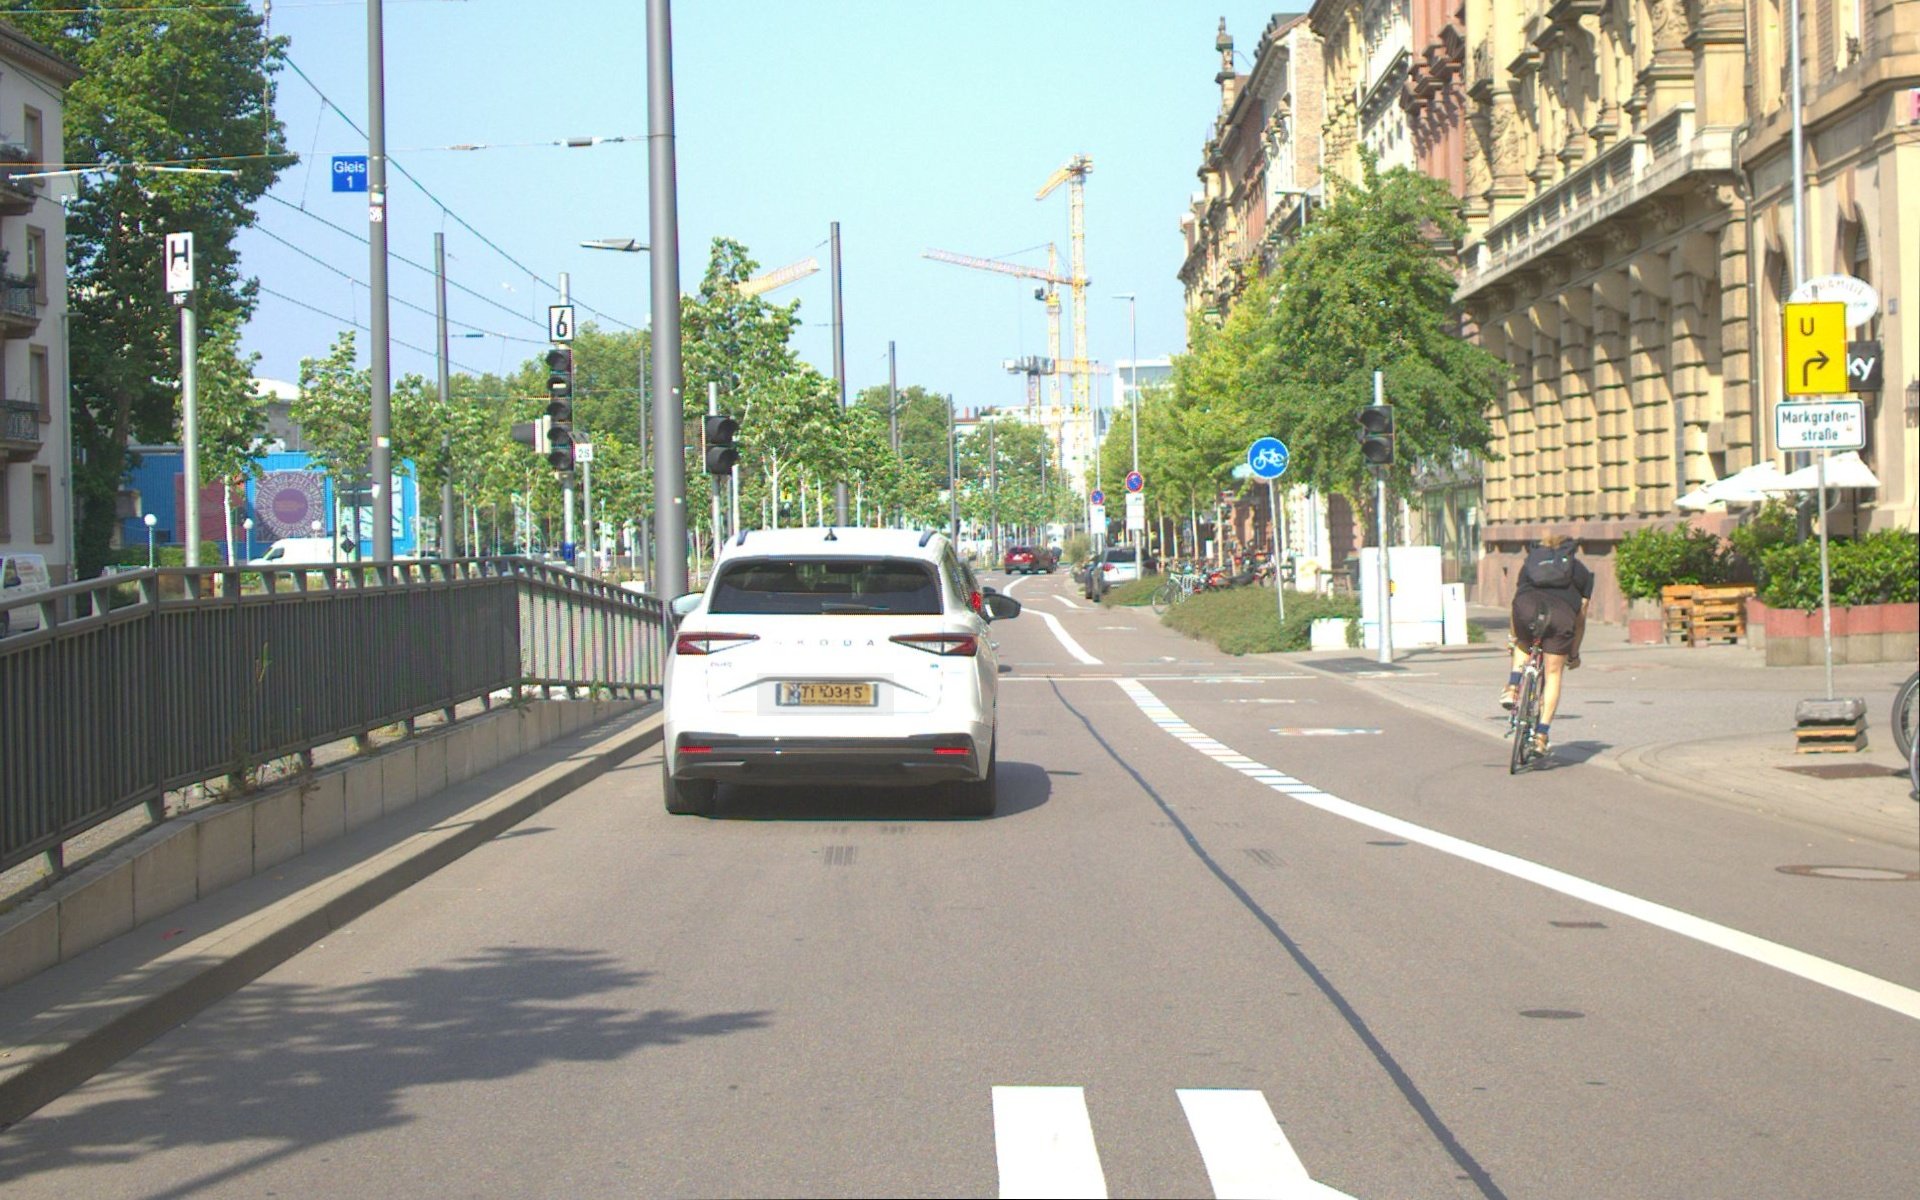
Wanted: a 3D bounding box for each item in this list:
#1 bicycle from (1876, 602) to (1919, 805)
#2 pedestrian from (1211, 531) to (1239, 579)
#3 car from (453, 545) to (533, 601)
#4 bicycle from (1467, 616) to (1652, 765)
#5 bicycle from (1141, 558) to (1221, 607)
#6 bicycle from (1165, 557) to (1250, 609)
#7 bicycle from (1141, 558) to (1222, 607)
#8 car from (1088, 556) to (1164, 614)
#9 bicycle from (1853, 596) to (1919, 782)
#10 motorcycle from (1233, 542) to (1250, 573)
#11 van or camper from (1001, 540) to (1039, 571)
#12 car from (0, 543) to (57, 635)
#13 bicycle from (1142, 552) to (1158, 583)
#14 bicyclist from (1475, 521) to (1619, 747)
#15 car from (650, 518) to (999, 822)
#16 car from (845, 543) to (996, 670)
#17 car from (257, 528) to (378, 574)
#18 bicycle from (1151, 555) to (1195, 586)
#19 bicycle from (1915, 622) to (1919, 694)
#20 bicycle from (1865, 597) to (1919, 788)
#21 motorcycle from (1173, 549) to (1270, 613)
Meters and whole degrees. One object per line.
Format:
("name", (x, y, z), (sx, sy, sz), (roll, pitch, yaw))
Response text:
("bicycle", (6.047, 0.525, 19.025), (1.755, 1.084, 0.668), (-3, 1, 6))
("pedestrian", (9.511, -1.621, 123.273), (0.823, 1.691, 0.793), (-3, 1, -3))
("car", (-16.453, -0.977, 121.377), (1.993, 1.888, 5.046), (-1, 1, 1))
("bicycle", (4.044, 0.595, 23.112), (0.506, 0.950, 1.781), (-2, -1, 35))
("bicycle", (5.128, -0.412, 79.826), (1.784, 1.050, 0.373), (-3, 1, 0))
("bicycle", (5.622, -0.389, 78.256), (1.806, 1.092, 0.672), (-3, 1, -4))
("bicycle", (5.120, -0.410, 79.481), (1.784, 1.050, 0.373), (-3, 1, 0))
("car", (4.852, -0.470, 101.020), (1.769, 1.583, 4.248), (-2, 1, -3))
("bicycle", (6.398, 0.496, 20.876), (1.752, 1.084, 0.583), (-3, 1, 4))
("motorcycle", (10.884, -1.640, 132.807), (0.463, 1.171, 1.945), (-3, 1, 1))
("van or camper", (3.323, -2.451, 190.374), (1.993, 1.649, 4.000), (-2, 1, 0))
("car", (-21.212, -0.255, 74.192), (1.993, 1.911, 5.153), (1, 1, 1))
("bicycle", (6.767, -1.167, 122.310), (0.492, 1.090, 1.826), (-1, 1, 1))
("bicyclist", (3.934, 0.225, 23.020), (0.585, 1.477, 0.930), (-2, -1, 35))
("car", (-0.685, 0.334, 20.230), (1.817, 1.584, 4.407), (0, 1, 1))
("car", (-0.440, 0.039, 42.491), (1.754, 1.479, 4.407), (0, 1, 1))
("car", (-39.156, -2.952, 209.597), (6.872, 2.629, 2.515), (1, 0, -20))
("bicycle", (7.512, -1.037, 121.415), (0.454, 1.078, 1.873), (-2, -1, 43))
("bicycle", (5.848, 0.584, 17.559), (1.755, 1.084, 0.673), (-5, 1, -22))
("bicycle", (6.312, 0.499, 20.276), (1.752, 1.084, 0.583), (-3, 1, 4))
("motorcycle", (5.644, -0.415, 74.158), (2.035, 1.282, 0.705), (-4, 2, -33))
